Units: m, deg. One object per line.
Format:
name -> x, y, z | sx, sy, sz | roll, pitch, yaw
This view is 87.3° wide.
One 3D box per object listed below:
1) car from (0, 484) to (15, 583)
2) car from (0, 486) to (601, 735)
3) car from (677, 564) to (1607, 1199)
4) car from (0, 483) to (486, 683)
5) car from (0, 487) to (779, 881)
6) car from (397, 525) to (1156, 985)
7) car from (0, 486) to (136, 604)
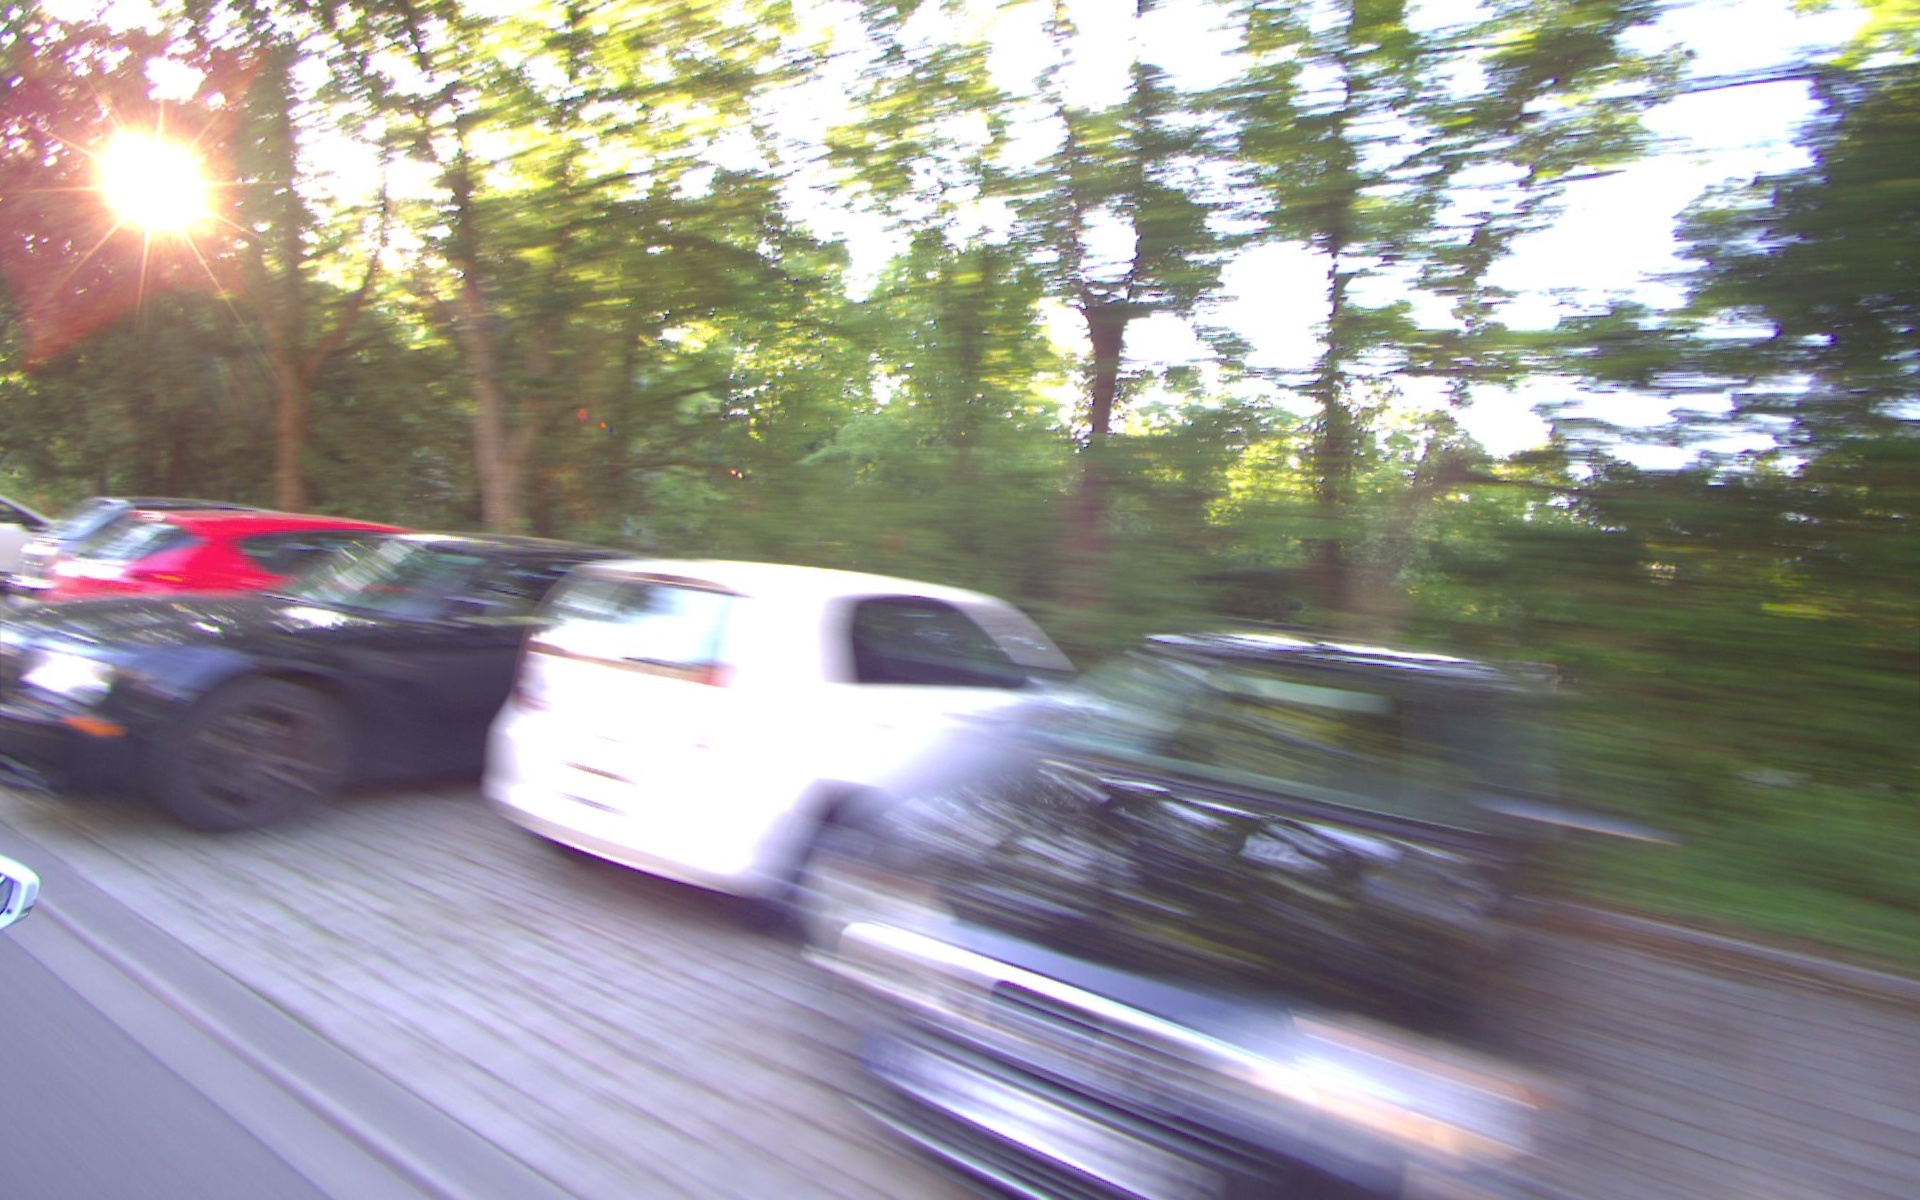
car -> -17.633, -1.299, 15.541 | 1.727, 1.644, 3.995 | 7, 0, 27
car -> -5.154, 0.070, 8.319 | 1.844, 1.468, 3.812 | 6, 2, 28
car -> 1.219, 0.800, 3.715 | 1.703, 1.468, 4.155 | 7, 2, 35
car -> -7.018, -0.144, 9.980 | 1.794, 1.530, 3.812 | 6, 2, 28
car -> -3.295, 0.298, 6.105 | 1.987, 1.468, 4.246 | 6, 2, 29
car -> -0.613, 0.559, 5.451 | 1.797, 1.468, 3.806 | 7, 2, 35
car -> -13.244, -0.816, 12.823 | 1.794, 1.468, 3.812 | 6, 2, 28
